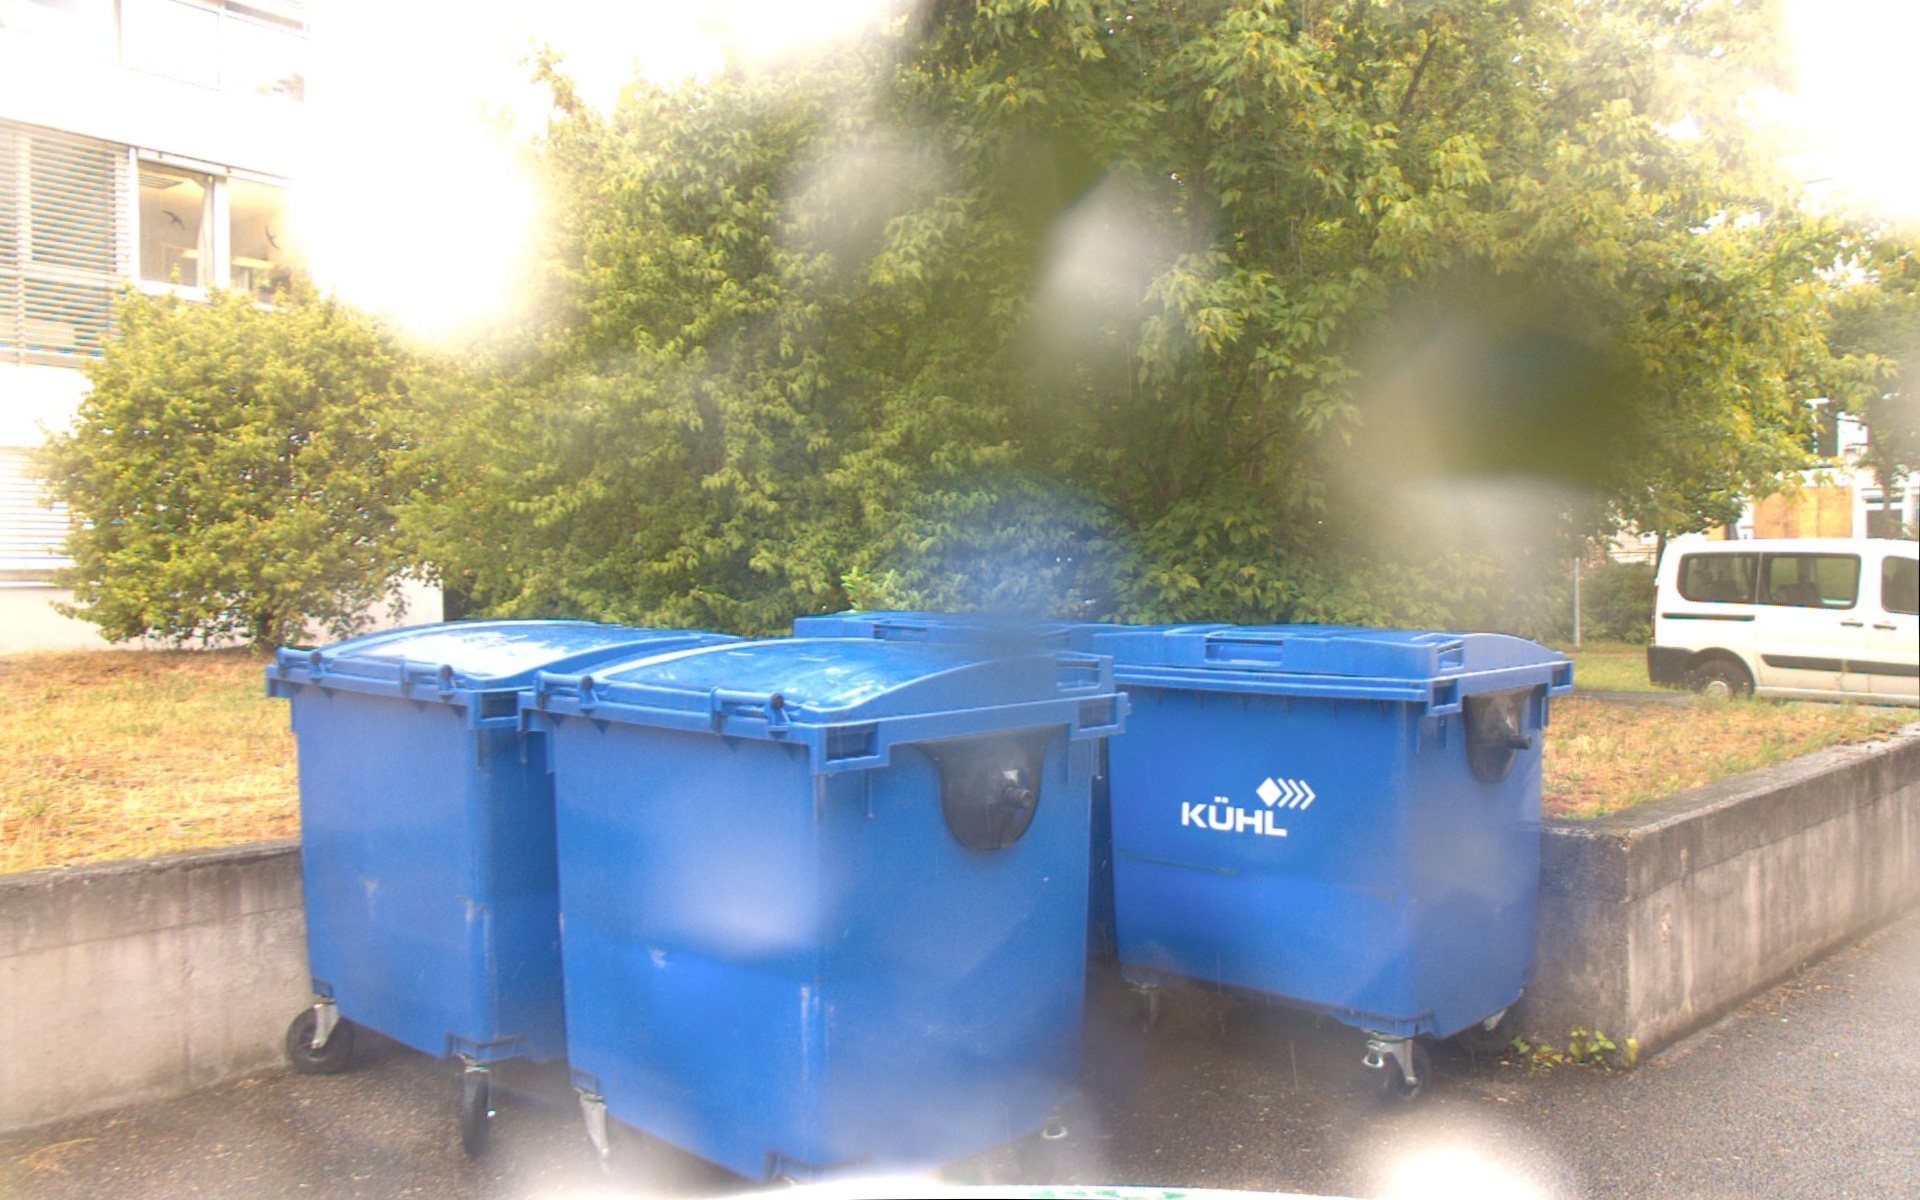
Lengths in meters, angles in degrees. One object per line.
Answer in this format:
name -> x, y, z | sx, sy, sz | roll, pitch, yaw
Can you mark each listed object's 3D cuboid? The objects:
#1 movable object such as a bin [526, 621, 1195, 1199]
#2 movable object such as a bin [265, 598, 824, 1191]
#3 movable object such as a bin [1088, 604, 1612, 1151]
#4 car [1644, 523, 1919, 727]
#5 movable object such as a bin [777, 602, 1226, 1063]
movable object such as a bin -> -0.248, 0.750, 3.952 | 1.108, 1.360, 1.188 | -1, 1, -43
movable object such as a bin -> -1.210, 0.721, 4.832 | 1.186, 1.360, 1.110 | 2, 4, 43
movable object such as a bin -> 1.170, 0.707, 4.986 | 1.204, 1.360, 1.000 | 0, 1, 43
car -> 10.058, 0.234, 17.626 | 4.714, 2.049, 1.987 | -1, 1, 44
movable object such as a bin -> 0.142, 0.708, 5.798 | 1.204, 1.360, 1.000 | 0, 2, 43
